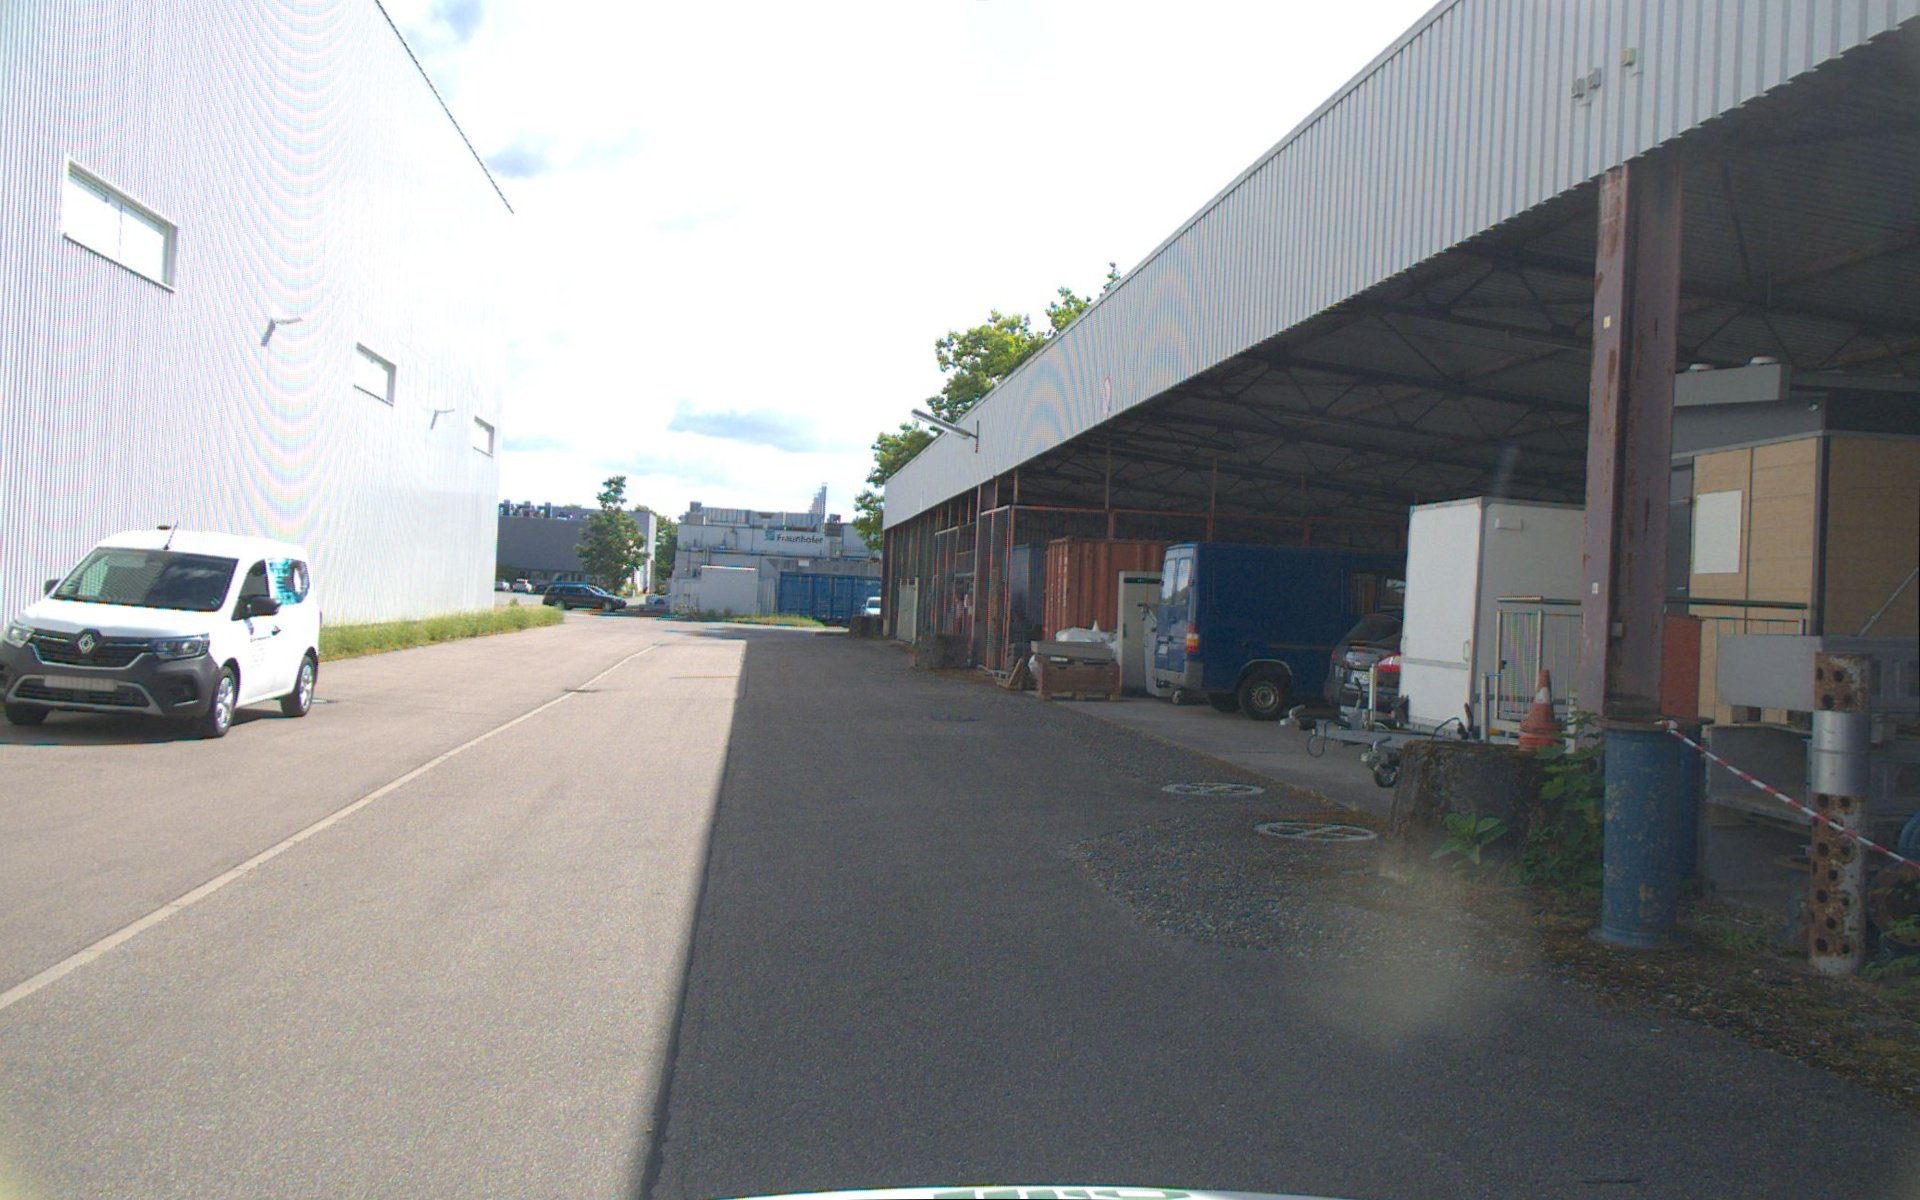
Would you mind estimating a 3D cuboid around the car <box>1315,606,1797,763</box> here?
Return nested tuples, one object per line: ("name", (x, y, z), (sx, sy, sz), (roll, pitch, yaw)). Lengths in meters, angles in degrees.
("car", (5.984, 0.831, 16.797), (4.266, 1.458, 1.860), (1, 0, -11))

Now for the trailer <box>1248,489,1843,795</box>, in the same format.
("trailer", (4.866, 0.355, 14.023), (4.455, 2.376, 1.686), (1, 0, -7))

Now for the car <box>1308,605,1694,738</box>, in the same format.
("car", (6.456, 0.842, 19.946), (4.030, 1.479, 1.847), (1, 0, -8))

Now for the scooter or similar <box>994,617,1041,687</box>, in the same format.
("scooter or similar", (0.964, 0.872, 28.228), (0.510, 1.154, 1.589), (2, -1, -8))

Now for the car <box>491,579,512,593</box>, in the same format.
("car", (-52.655, -1.623, 190.081), (1.843, 1.564, 4.026), (1, 0, -10))

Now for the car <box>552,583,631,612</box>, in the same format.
("car", (-22.241, -0.144, 100.057), (4.444, 1.468, 1.900), (3, -2, -8))

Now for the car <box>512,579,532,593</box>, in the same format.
("car", (-50.422, -1.581, 190.619), (1.843, 1.564, 4.026), (1, 0, -10))

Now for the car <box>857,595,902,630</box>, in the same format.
("car", (-4.241, 0.631, 86.607), (1.944, 1.621, 4.333), (3, 1, -8))

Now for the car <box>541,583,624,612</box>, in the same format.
("car", (-22.055, -0.142, 96.798), (4.444, 1.468, 1.984), (3, -2, -8))

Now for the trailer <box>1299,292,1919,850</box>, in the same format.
("trailer", (7.758, -0.090, 11.885), (10.097, 3.353, 2.671), (1, 0, -7))

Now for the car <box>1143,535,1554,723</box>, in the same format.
("car", (5.328, 0.412, 23.014), (5.119, 2.337, 2.080), (2, -1, -9))

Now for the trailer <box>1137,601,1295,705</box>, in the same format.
("trailer", (3.899, 0.796, 25.437), (2.053, 1.488, 1.640), (2, -1, -5))

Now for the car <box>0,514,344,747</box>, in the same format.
("car", (-7.561, 0.237, 15.983), (1.892, 1.821, 4.590), (4, 0, -7))

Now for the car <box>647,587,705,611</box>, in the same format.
("car", (-21.418, -0.081, 124.860), (4.198, 1.596, 1.984), (3, -2, -8))
